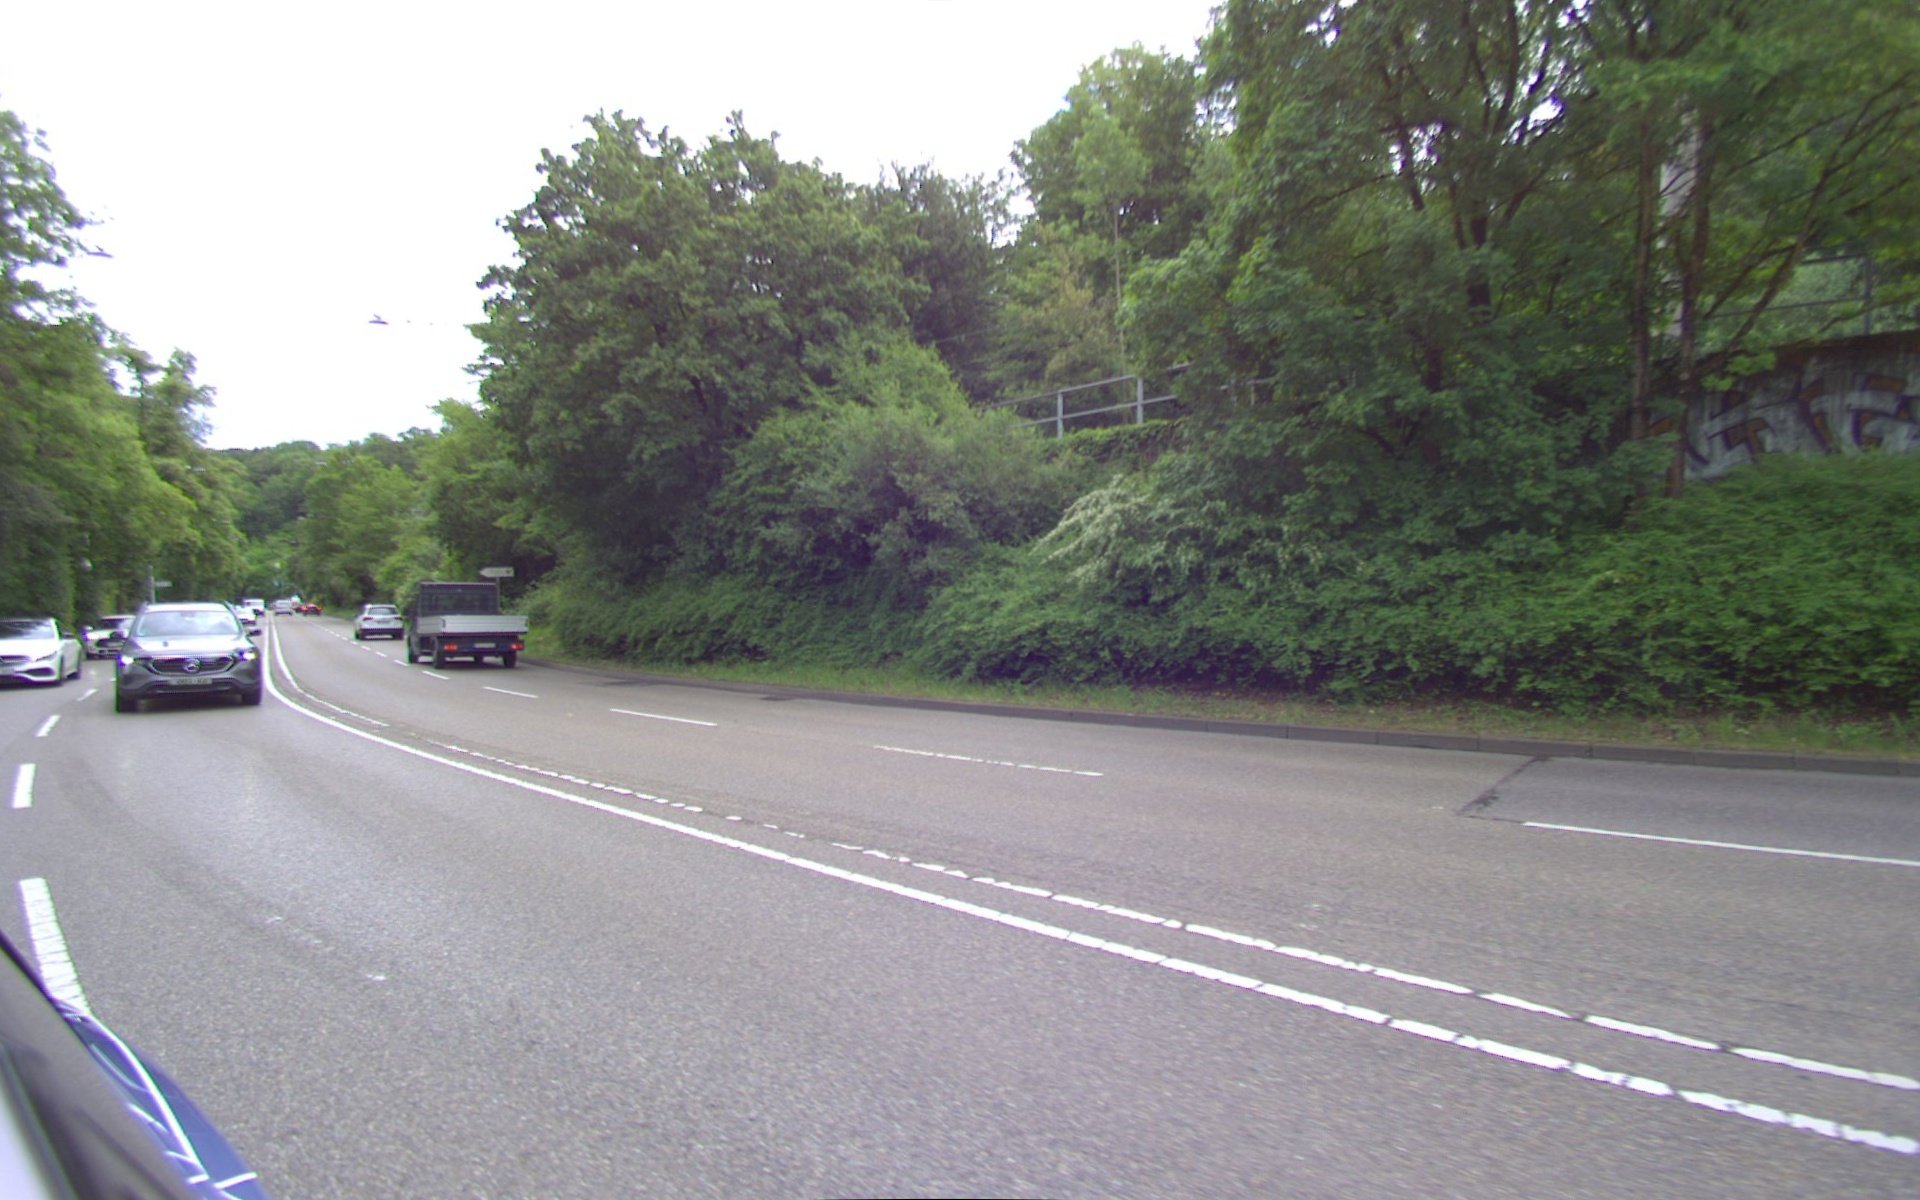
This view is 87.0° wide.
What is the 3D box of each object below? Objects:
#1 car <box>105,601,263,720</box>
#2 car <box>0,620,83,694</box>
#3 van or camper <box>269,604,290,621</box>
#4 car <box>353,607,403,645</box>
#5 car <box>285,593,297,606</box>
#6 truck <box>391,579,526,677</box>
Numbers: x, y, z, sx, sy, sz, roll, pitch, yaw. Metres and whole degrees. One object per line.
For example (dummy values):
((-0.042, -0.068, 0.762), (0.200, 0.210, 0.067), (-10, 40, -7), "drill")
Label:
((-12.724, 0.869, 16.576), (1.843, 1.675, 4.200), (-1, 0, -39), "car")
((-19.722, 1.160, 20.934), (1.867, 1.305, 4.338), (-4, 2, -35), "car")
((-89.260, 1.643, 132.786), (1.966, 2.029, 5.383), (5, -3, -33), "van or camper")
((-27.711, 1.234, 48.119), (1.830, 1.707, 4.449), (2, -2, -32), "car")
((-135.985, -0.039, 205.665), (1.862, 2.575, 4.927), (0, 0, -34), "car")
((-14.063, 0.717, 28.090), (2.132, 2.389, 6.692), (-1, 0, -37), "truck")
